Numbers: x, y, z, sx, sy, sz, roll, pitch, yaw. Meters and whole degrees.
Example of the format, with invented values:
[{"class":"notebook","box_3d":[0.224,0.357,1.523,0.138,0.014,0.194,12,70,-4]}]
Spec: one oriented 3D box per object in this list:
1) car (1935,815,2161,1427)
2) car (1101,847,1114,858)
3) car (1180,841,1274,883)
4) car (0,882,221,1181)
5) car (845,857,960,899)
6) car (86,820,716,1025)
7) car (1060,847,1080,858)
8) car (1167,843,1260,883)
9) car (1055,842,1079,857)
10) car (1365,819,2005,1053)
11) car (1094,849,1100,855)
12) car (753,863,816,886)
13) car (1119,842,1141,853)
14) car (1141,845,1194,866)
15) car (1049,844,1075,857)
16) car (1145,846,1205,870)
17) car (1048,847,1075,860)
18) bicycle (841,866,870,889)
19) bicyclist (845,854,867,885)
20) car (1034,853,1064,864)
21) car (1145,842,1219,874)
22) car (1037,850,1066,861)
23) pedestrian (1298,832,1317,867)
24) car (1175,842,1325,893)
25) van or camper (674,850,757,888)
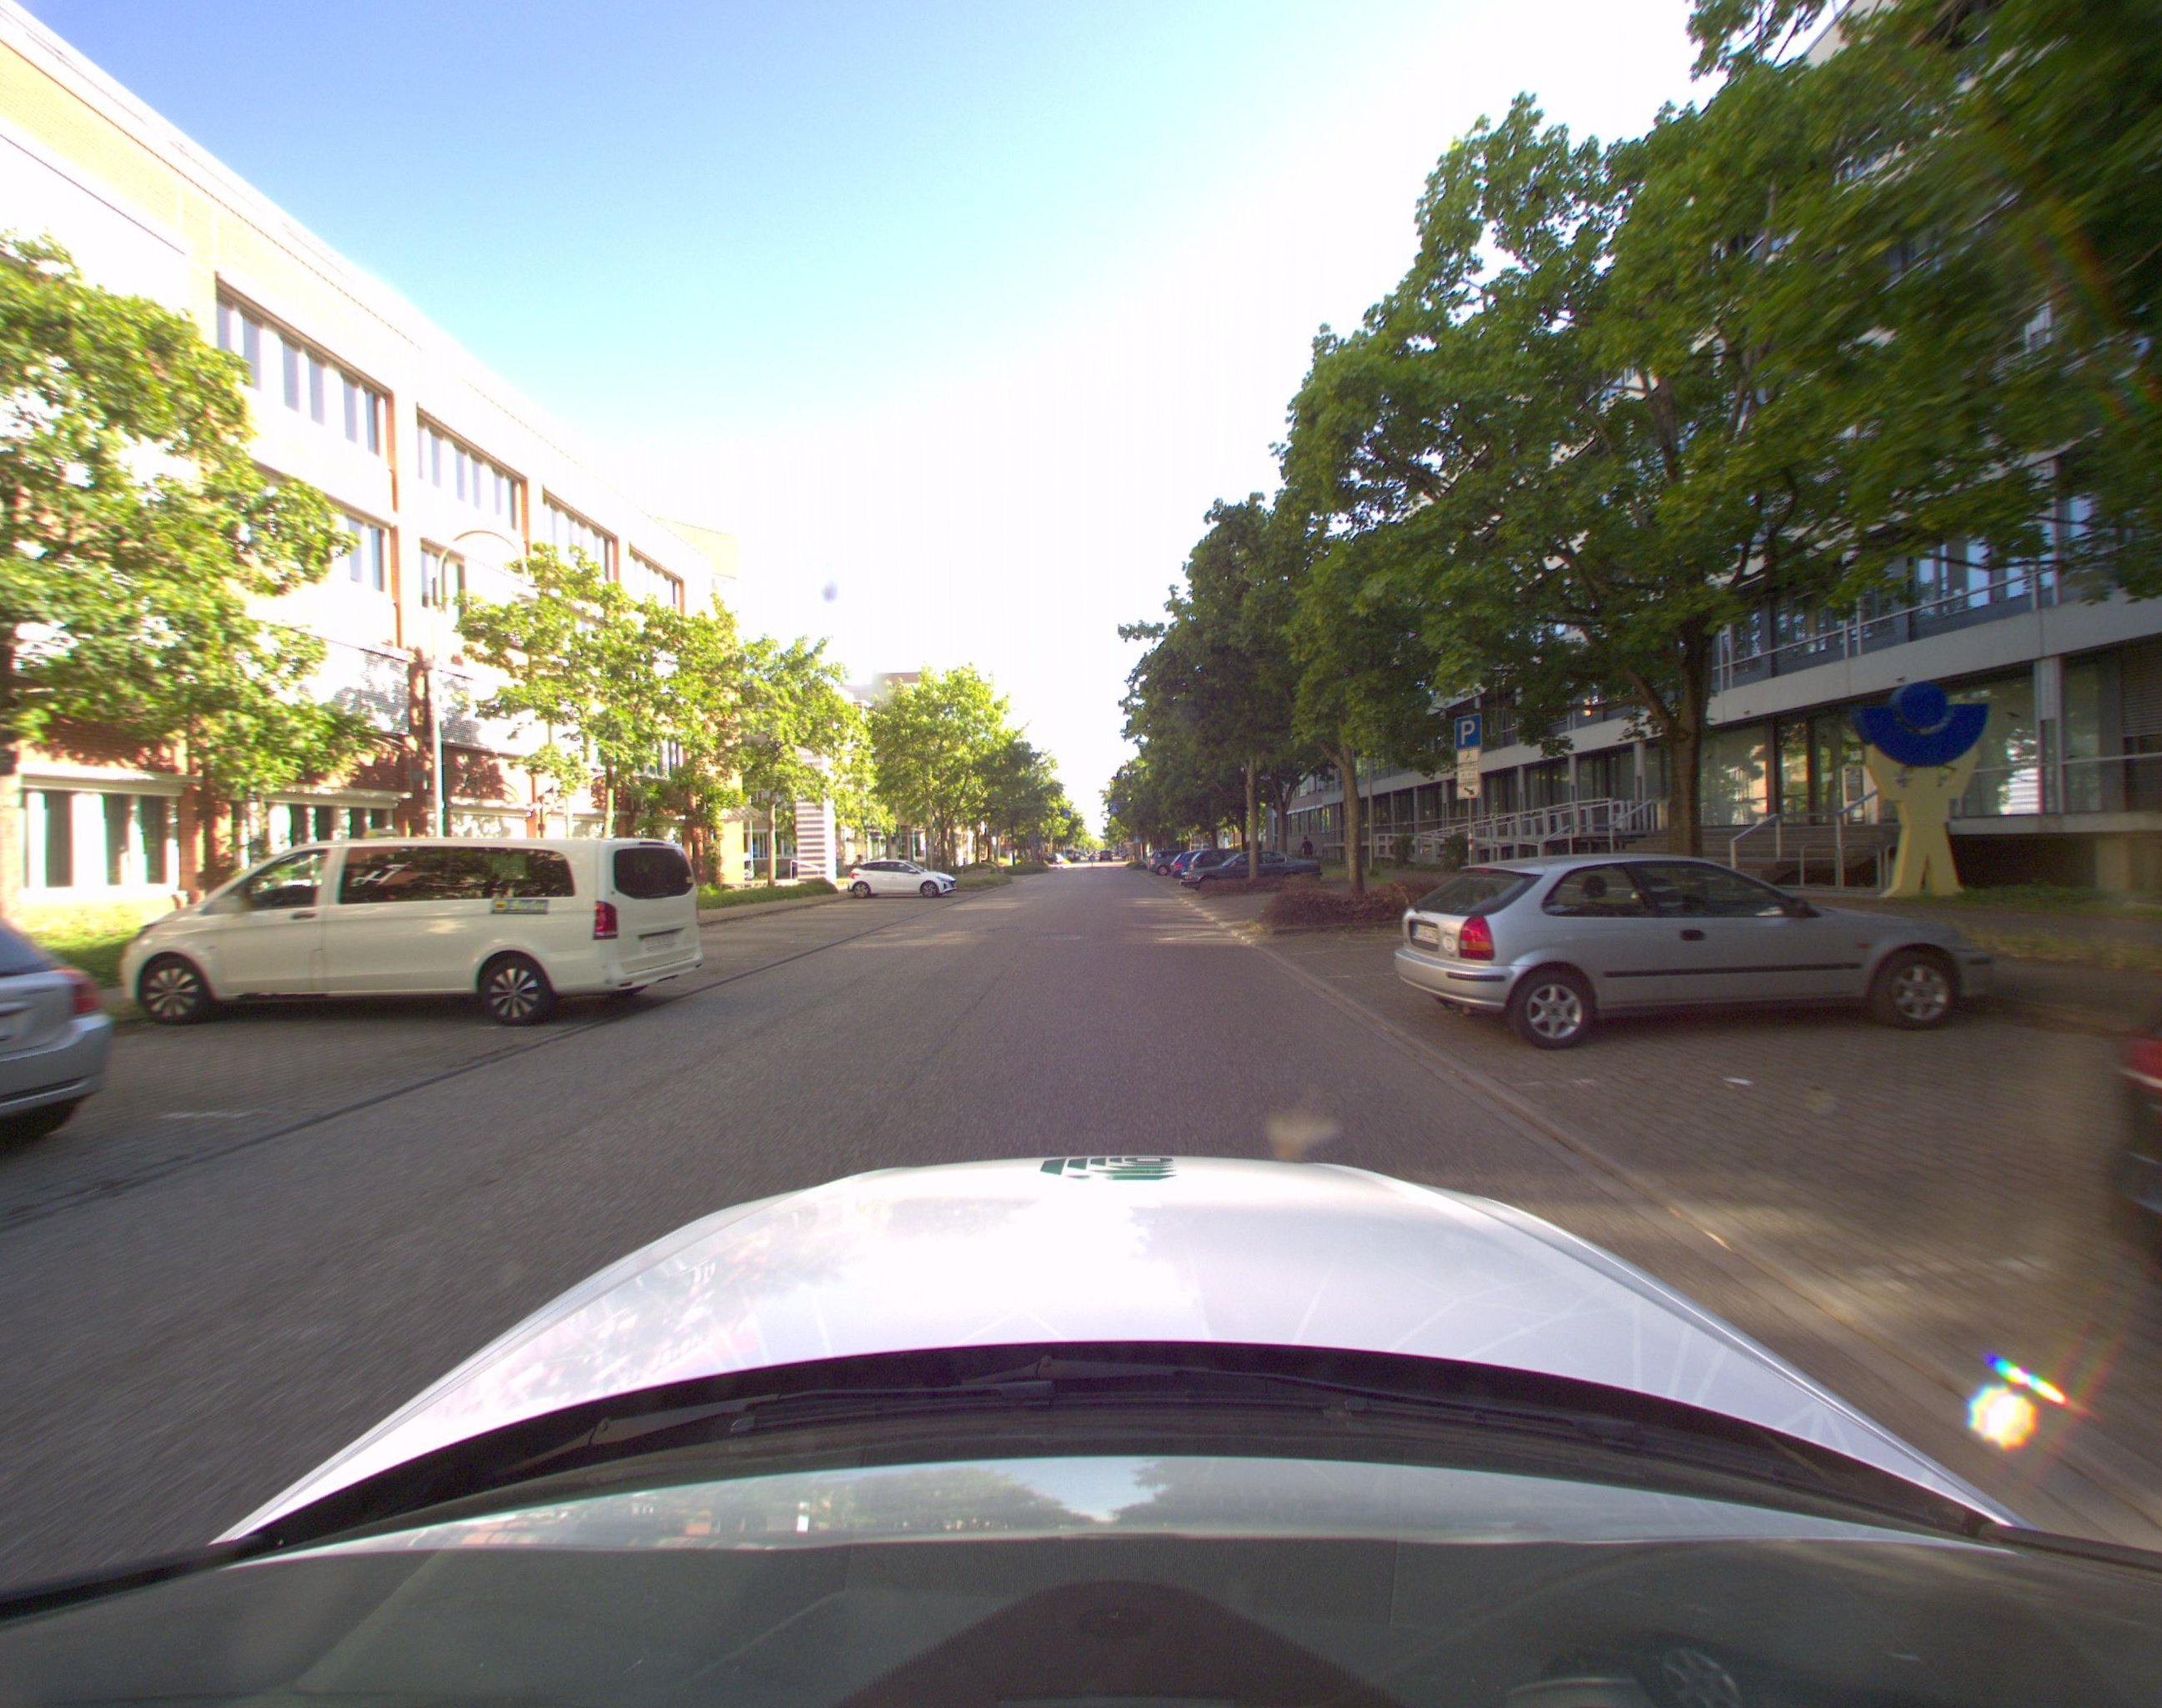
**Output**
[{"class":"car","box_3d":[4.898,0.507,1.543,4.574,1.493,1.764,-4,0,1]},{"class":"car","box_3d":[4.085,-0.167,125.498,1.986,1.640,4.001,0,0,1]},{"class":"car","box_3d":[6.128,0.318,34.559,3.628,1.514,1.813,-4,0,1]},{"class":"car","box_3d":[-7.634,0.932,4.274,4.302,1.477,1.945,0,0,3]},{"class":"car","box_3d":[-6.790,0.890,31.317,3.973,1.486,1.807,-1,0,0]},{"class":"car","box_3d":[-7.054,0.665,8.875,5.238,1.967,1.943,0,0,1]},{"class":"car","box_3d":[-2.179,-0.278,160.766,3.974,2.013,2.000,-2,0,-1]},{"class":"car","box_3d":[5.985,0.406,37.147,3.933,1.514,1.814,-4,0,2]},{"class":"car","box_3d":[-2.396,-0.808,141.626,3.967,2.541,1.866,-1,0,6]},{"class":"car","box_3d":[4.641,0.582,6.696,3.957,1.420,1.710,-4,0,-1]},{"class":"car","box_3d":[4.796,-0.574,246.967,1.806,1.525,4.002,-2,0,2]},{"class":"car","box_3d":[-23.237,1.608,63.929,4.176,1.477,2.001,-2,2,1]},{"class":"car","box_3d":[9.346,-1.193,154.987,3.974,2.013,2.000,-2,0,-1]},{"class":"car","box_3d":[7.235,0.129,68.634,4.179,1.473,1.812,-4,0,-2]},{"class":"car","box_3d":[-3.213,-0.555,136.557,3.967,2.013,2.003,-2,0,5]},{"class":"car","box_3d":[6.929,0.300,60.188,4.179,1.448,1.812,-4,0,-2]},{"class":"car","box_3d":[-3.173,-0.110,133.129,3.967,2.013,2.003,-2,0,5]},{"class":"bicycle","box_3d":[-10.151,1.046,36.714,0.602,0.981,1.866,-2,0,6]},{"class":"bicyclist","box_3d":[-10.159,0.673,36.735,0.602,1.353,0.914,-2,0,6]},{"class":"car","box_3d":[-4.127,0.590,106.086,3.843,1.473,1.809,0,0,-6]},{"class":"car","box_3d":[6.297,0.248,51.290,4.339,1.704,1.811,-4,0,-2]},{"class":"car","box_3d":[-4.041,0.201,110.856,3.842,1.473,1.810,0,0,-5]},{"class":"pedestrian","box_3d":[11.776,-0.241,42.298,0.605,1.745,1.191,-2,0,1]},{"class":"car","box_3d":[5.849,0.457,28.697,4.810,1.420,2.031,-4,0,-1]},{"class":"van or camper","box_3d":[-28.713,1.137,64.053,5.350,2.674,2.181,-2,1,1]}]
